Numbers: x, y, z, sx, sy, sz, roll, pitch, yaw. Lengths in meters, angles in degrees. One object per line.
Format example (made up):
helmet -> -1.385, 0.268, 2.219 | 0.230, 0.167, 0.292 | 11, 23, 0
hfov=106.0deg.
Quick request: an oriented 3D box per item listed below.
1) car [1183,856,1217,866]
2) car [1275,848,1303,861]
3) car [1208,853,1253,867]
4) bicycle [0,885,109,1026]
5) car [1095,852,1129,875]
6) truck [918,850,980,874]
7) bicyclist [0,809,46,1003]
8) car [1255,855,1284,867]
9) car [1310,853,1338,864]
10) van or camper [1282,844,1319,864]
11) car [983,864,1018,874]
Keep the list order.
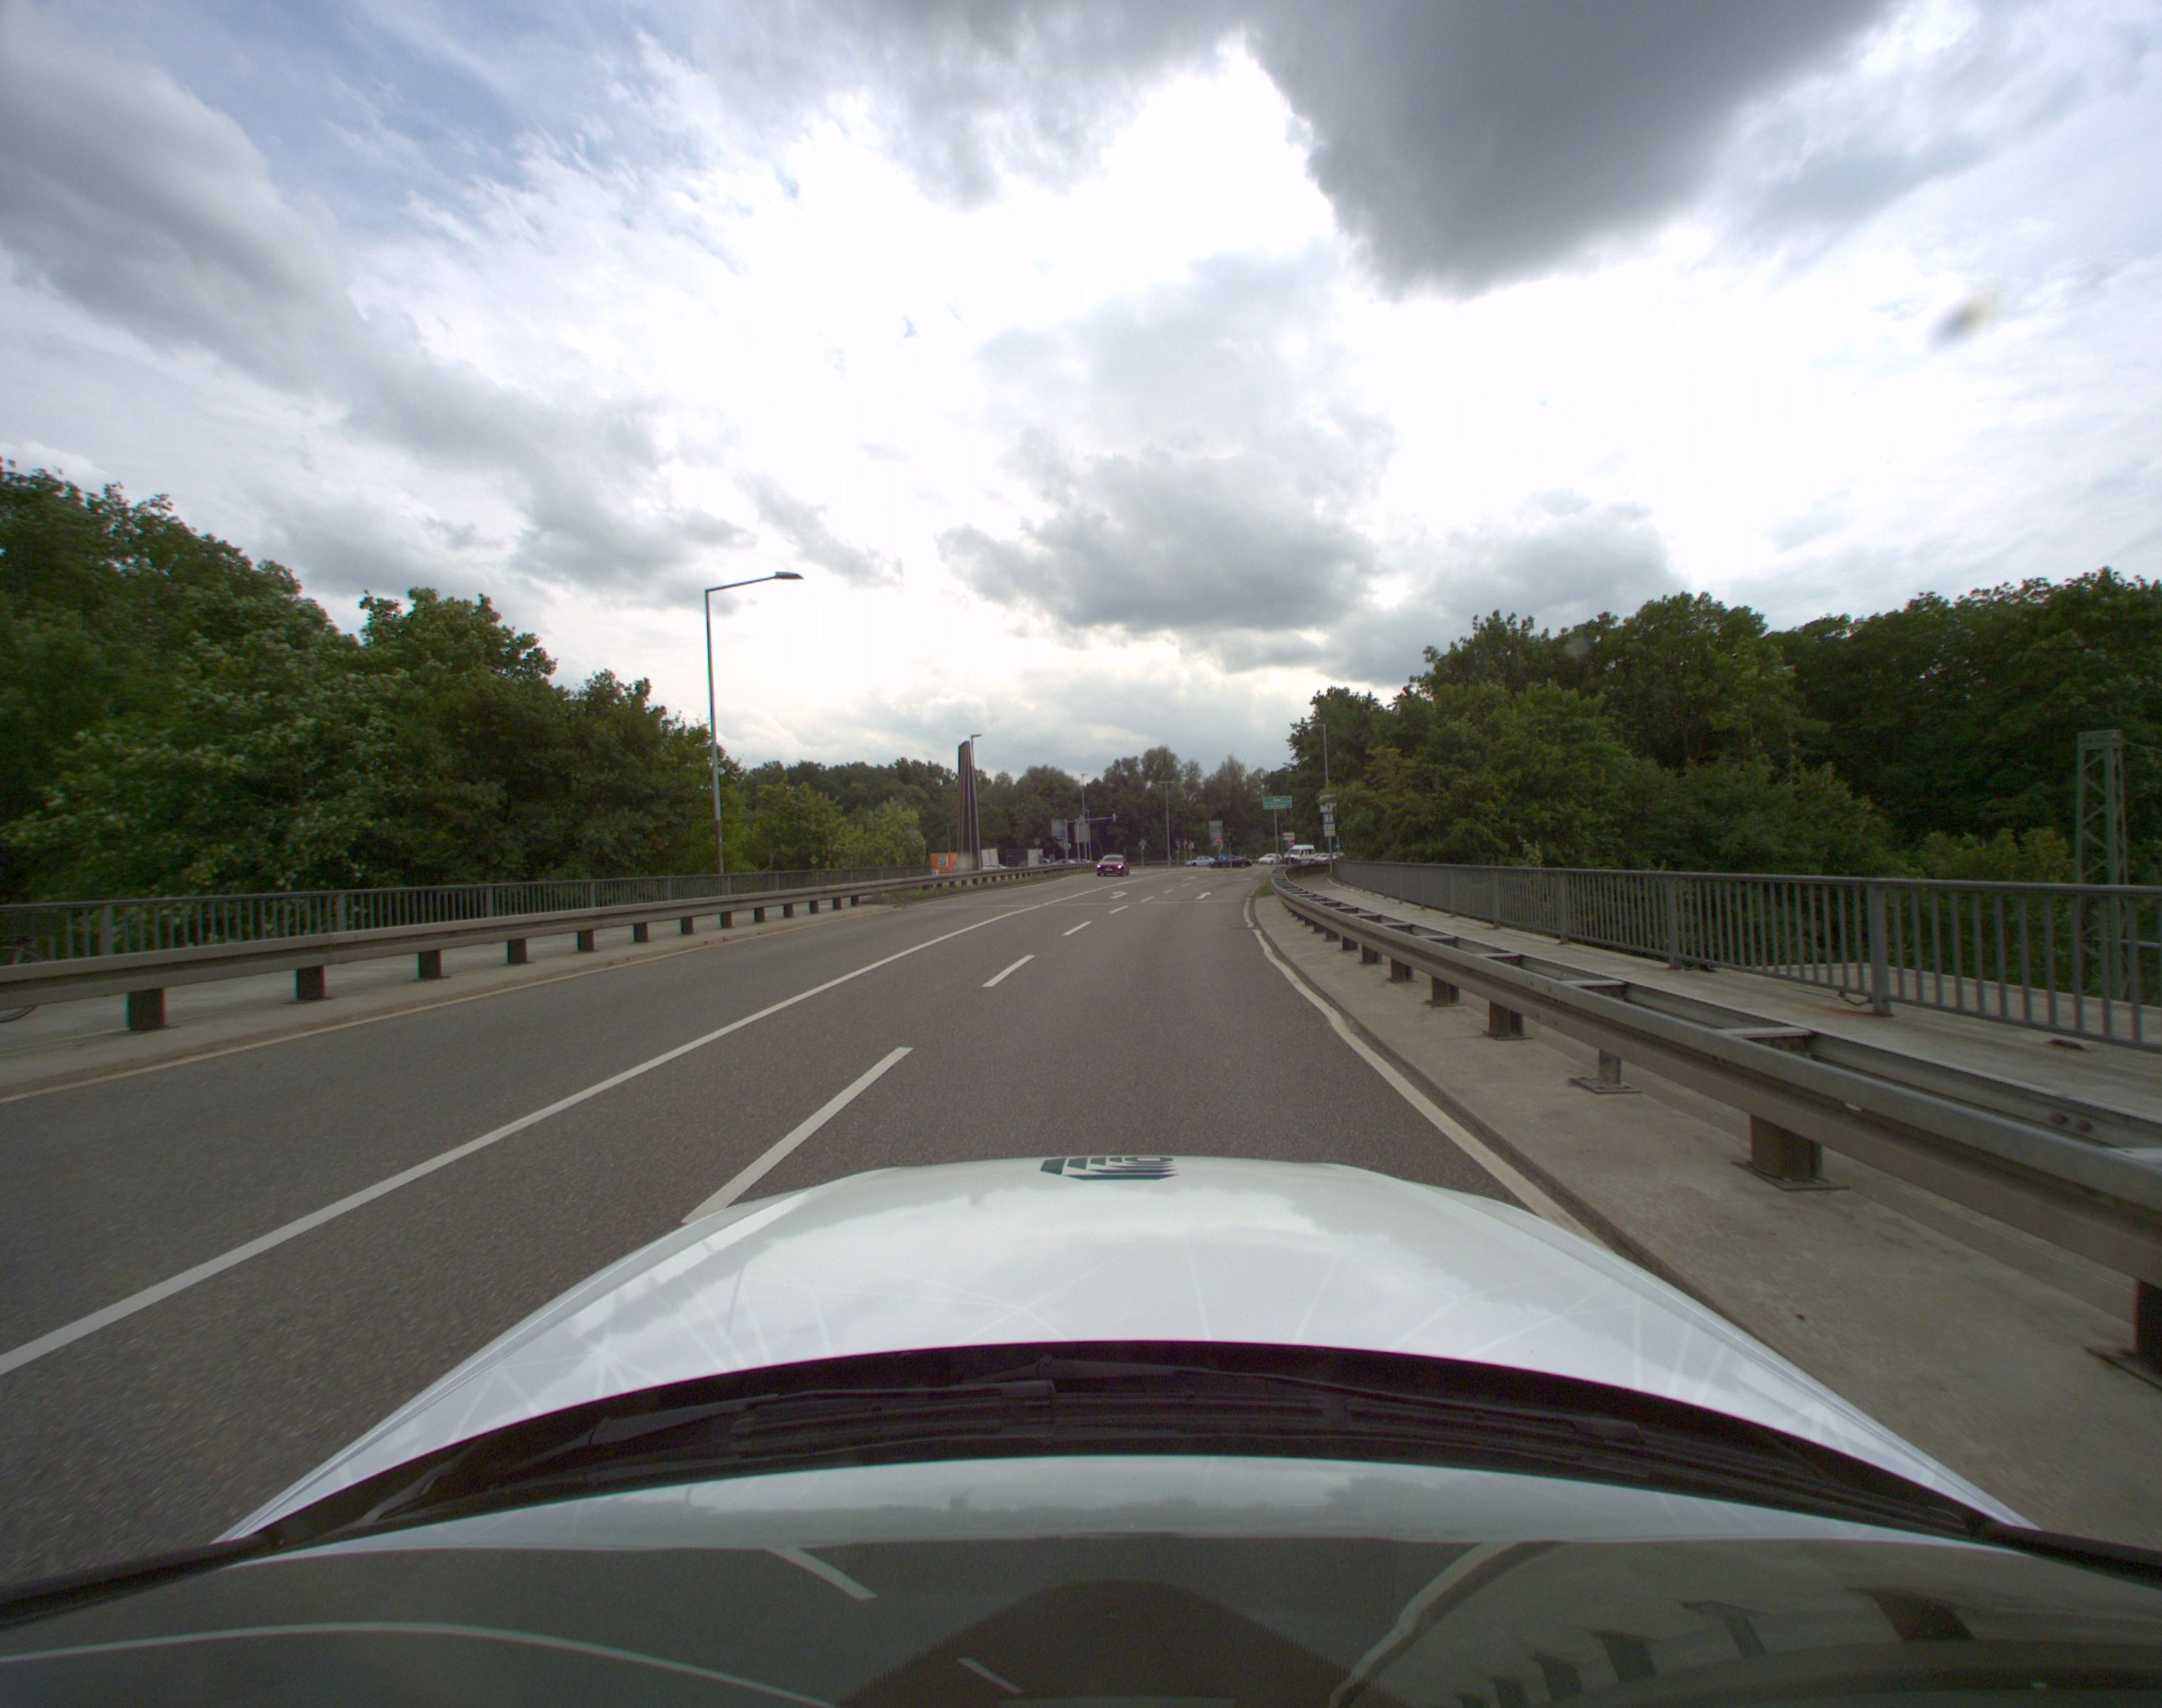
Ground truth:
car -> 16.540, 0.964, 113.352 | 4.228, 1.205, 1.985 | -1, 0, -23
car -> 29.359, 0.067, 114.674 | 1.975, 1.902, 4.192 | -1, 0, 44
car -> 16.095, 0.648, 87.858 | 4.612, 1.455, 2.005 | -1, 0, 8
bicycle -> -9.473, 0.875, 6.724 | 0.633, 1.174, 1.905 | -1, 0, -1
car -> 2.188, 0.633, 55.799 | 1.785, 1.472, 4.647 | -1, 0, 9
truck -> -18.229, 1.146, 111.934 | 9.156, 3.135, 2.991 | -1, 0, 37
bicyclist -> -9.465, 0.438, 6.800 | 0.768, 1.631, 0.649 | -1, -2, 1
car -> 25.568, 0.883, 110.252 | 1.974, 1.547, 4.567 | -1, 0, 40
car -> 34.385, 0.645, 115.177 | 1.975, 1.498, 4.427 | -1, 0, 42
van or camper -> 29.620, -0.014, 109.621 | 2.139, 2.589, 6.536 | -1, 0, 41
car -> -10.473, 1.962, 105.544 | 4.282, 1.310, 2.013 | -1, 0, 38
